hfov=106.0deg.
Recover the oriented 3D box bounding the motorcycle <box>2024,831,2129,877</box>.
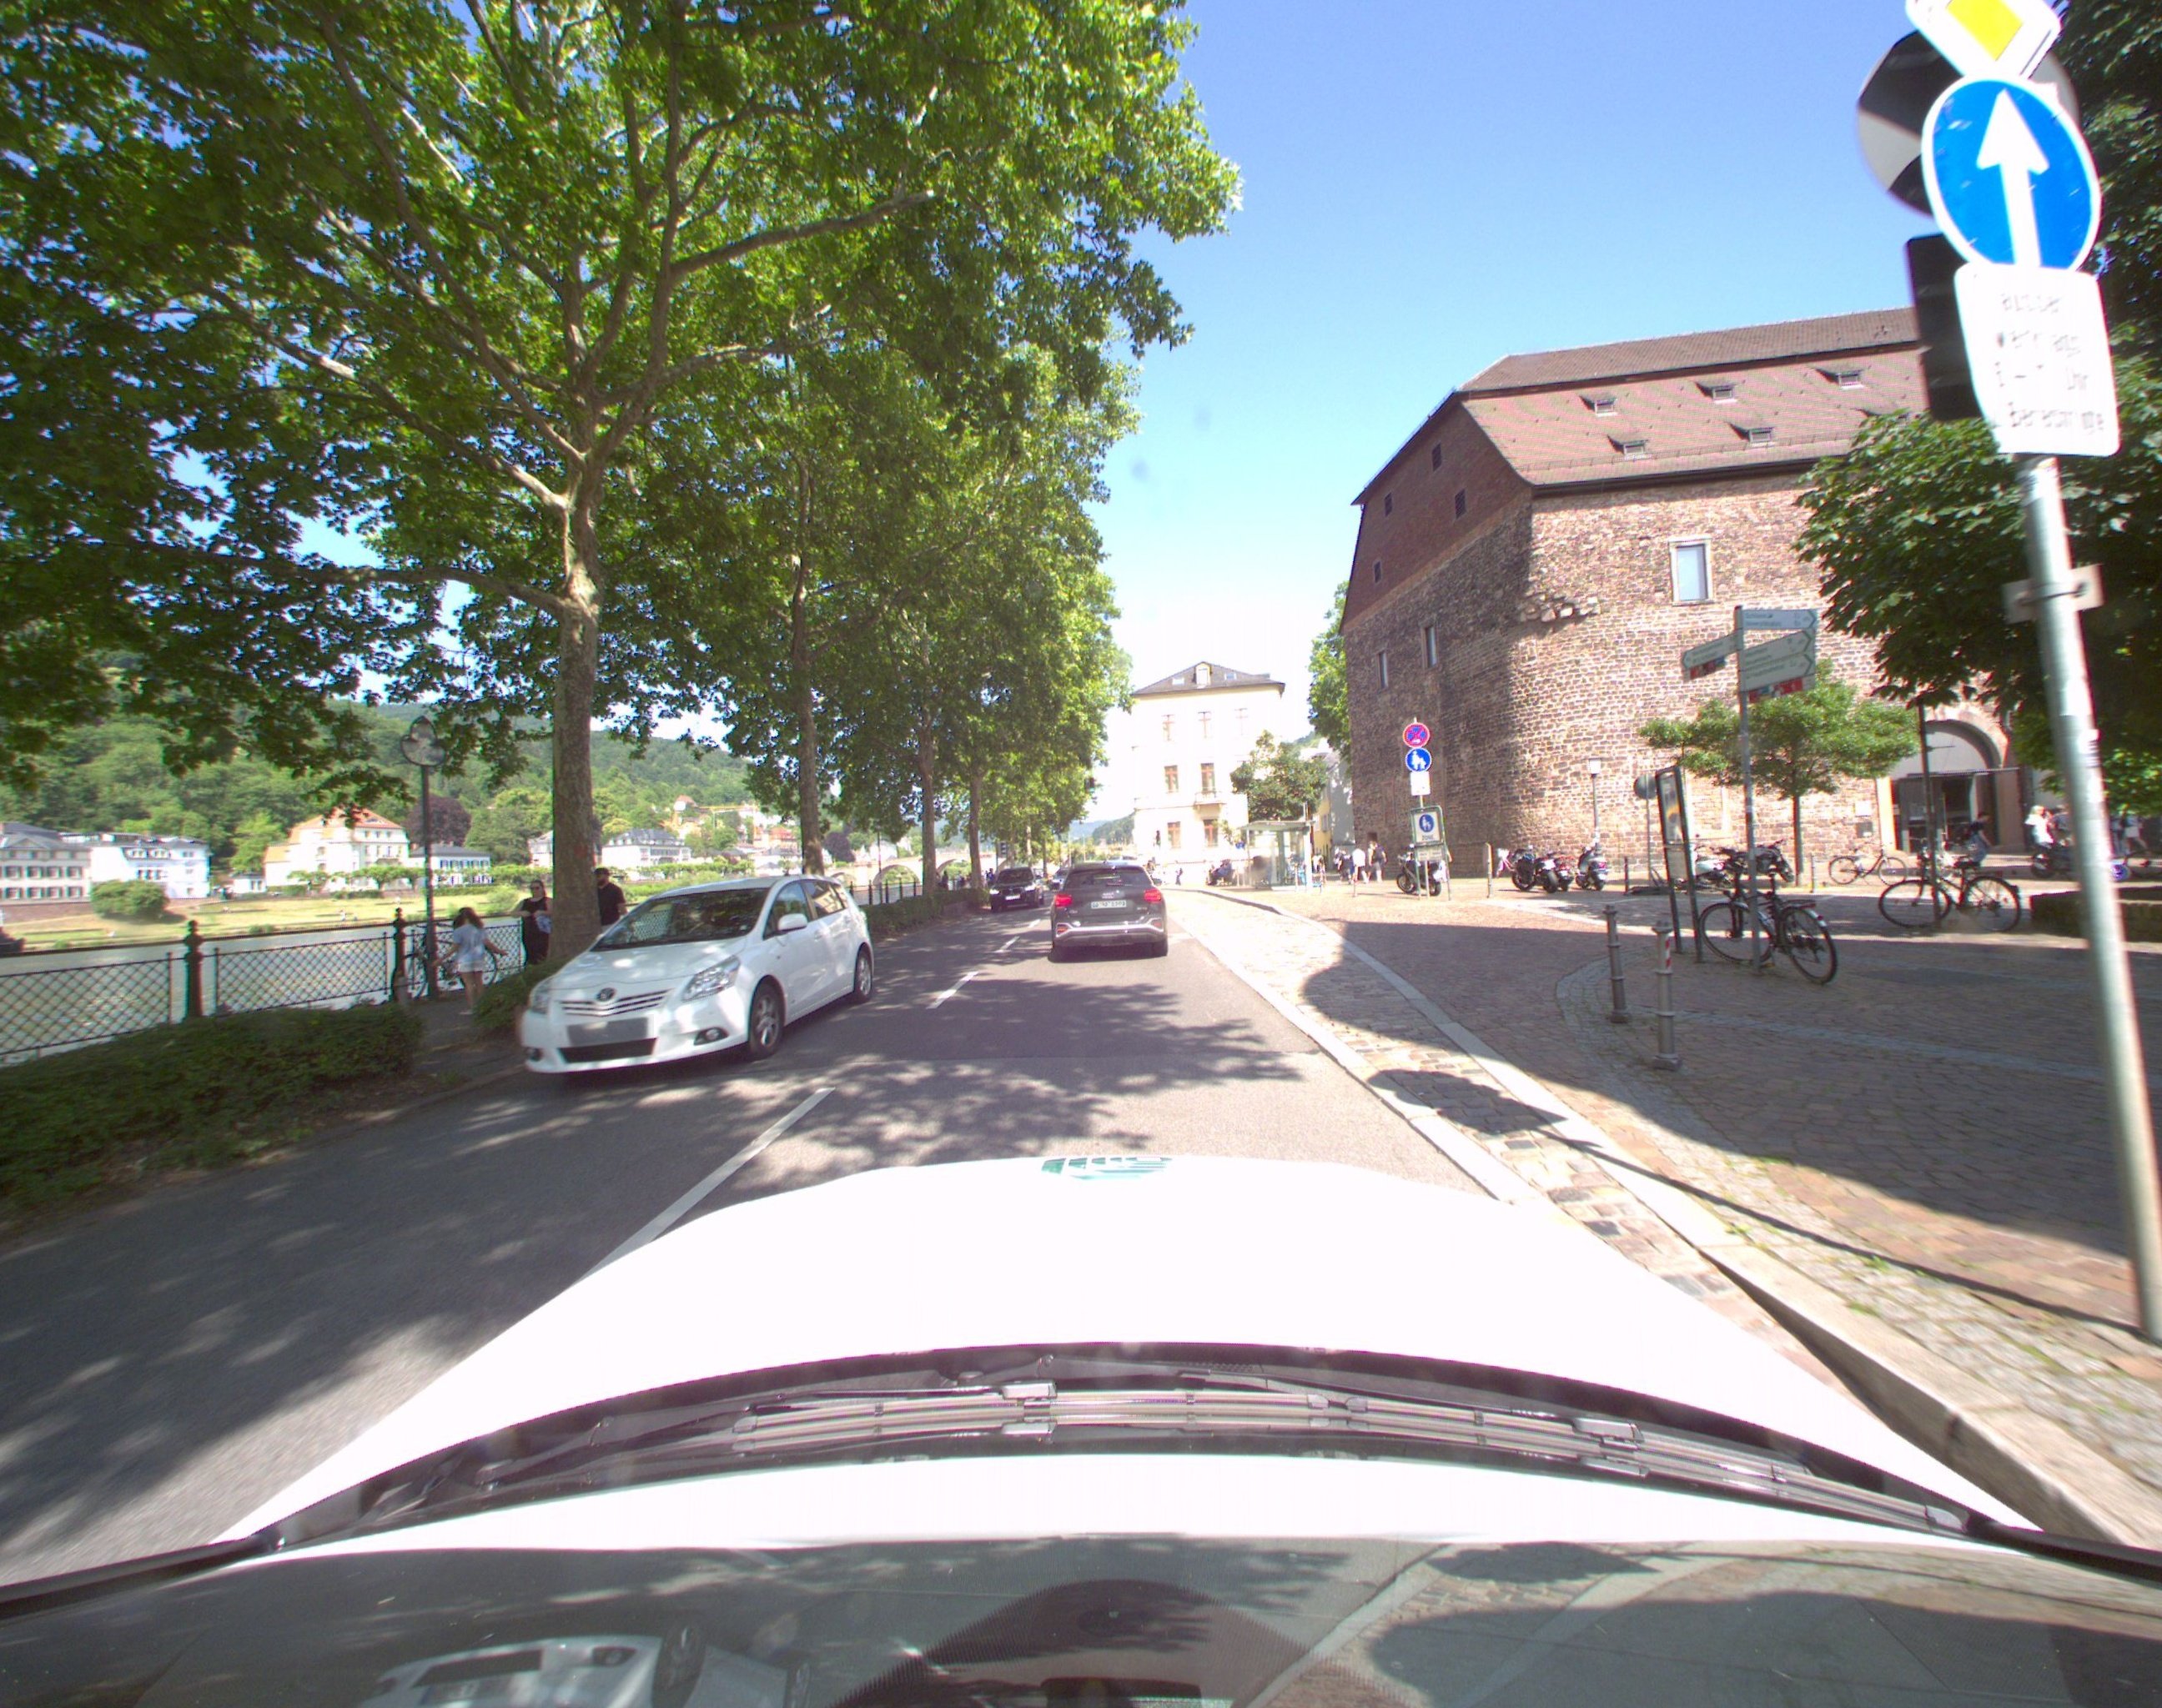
[{"bbox_3d":[23.503,0.021,19.266,0.386,1.034,1.610,-1,-2,-5],"label":"motorcycle"}]

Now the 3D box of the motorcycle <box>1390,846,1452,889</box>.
[{"bbox_3d":[8.817,0.349,21.247,0.564,1.012,2.490,-3,-1,1],"label":"motorcycle"}]

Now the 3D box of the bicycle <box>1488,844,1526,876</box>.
[{"bbox_3d":[16.522,0.237,31.610,0.388,1.209,1.715,-1,-2,-6],"label":"bicycle"}]

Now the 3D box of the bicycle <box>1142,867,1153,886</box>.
[{"bbox_3d":[3.945,1.346,48.429,0.436,1.086,1.675,-1,-2,-2],"label":"bicycle"}]

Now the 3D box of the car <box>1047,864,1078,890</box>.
[{"bbox_3d":[-1.354,1.716,60.857,1.985,1.807,4.003,-1,-2,3],"label":"car"}]

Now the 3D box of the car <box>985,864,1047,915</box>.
[{"bbox_3d":[-2.546,1.380,33.142,1.806,1.725,4.423,-8,-1,2],"label":"car"}]

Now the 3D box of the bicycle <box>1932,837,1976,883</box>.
[{"bbox_3d":[21.174,0.138,19.763,0.356,1.085,1.390,-2,-1,33],"label":"bicycle"}]

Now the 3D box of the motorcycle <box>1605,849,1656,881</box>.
[{"bbox_3d":[16.921,0.332,25.118,0.441,0.949,1.729,-1,-1,2],"label":"motorcycle"}]

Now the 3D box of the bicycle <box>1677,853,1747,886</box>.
[{"bbox_3d":[16.396,0.398,21.223,0.352,0.820,1.926,-1,0,1],"label":"bicycle"}]

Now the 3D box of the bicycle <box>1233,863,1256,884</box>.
[{"bbox_3d":[8.131,0.977,40.493,1.187,1.016,0.178,0,-2,-17],"label":"bicycle"}]

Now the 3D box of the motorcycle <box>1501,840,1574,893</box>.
[{"bbox_3d":[11.714,0.332,20.980,0.653,1.266,2.201,-2,-2,2],"label":"motorcycle"}]

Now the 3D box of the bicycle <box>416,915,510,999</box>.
[{"bbox_3d":[-9.134,1.490,12.086,0.358,1.091,1.296,1,-1,1],"label":"bicycle"}]

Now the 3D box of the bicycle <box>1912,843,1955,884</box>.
[{"bbox_3d":[20.257,0.226,19.358,0.356,0.949,1.390,-2,-2,33],"label":"bicycle"}]

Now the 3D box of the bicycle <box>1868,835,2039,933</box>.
[{"bbox_3d":[11.311,0.363,10.639,0.444,1.162,1.732,-3,-1,5],"label":"bicycle"}]

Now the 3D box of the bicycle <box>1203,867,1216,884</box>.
[{"bbox_3d":[7.382,1.243,46.850,0.299,0.964,1.183,0,-2,-11],"label":"bicycle"}]

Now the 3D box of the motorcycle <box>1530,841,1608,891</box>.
[{"bbox_3d":[12.624,0.322,21.174,0.672,1.235,2.313,-1,-2,2],"label":"motorcycle"}]

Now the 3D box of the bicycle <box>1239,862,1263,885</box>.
[{"bbox_3d":[8.162,0.940,38.992,1.160,1.070,0.178,0,-2,-17],"label":"bicycle"}]

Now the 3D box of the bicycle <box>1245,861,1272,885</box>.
[{"bbox_3d":[8.347,0.888,38.293,1.306,1.128,0.178,0,-2,-17],"label":"bicycle"}]

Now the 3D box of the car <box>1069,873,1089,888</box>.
[{"bbox_3d":[-0.193,3.067,93.914,1.985,1.626,4.003,-1,-2,3],"label":"car"}]

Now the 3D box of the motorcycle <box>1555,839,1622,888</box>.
[{"bbox_3d":[13.488,0.266,21.725,0.544,1.235,2.031,-1,-2,2],"label":"motorcycle"}]

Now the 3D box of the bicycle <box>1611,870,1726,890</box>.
[{"bbox_3d":[13.314,0.589,18.514,1.914,0.381,0.921,-2,-2,16],"label":"bicycle"}]

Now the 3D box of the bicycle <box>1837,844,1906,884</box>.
[{"bbox_3d":[19.442,0.257,20.057,0.358,0.966,1.381,-1,-2,1],"label":"bicycle"}]

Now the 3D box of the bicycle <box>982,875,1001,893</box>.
[{"bbox_3d":[-5.192,1.751,47.354,1.091,1.006,0.303,-1,-2,-5],"label":"bicycle"}]

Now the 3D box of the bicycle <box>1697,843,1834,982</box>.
[{"bbox_3d":[6.583,0.502,7.918,0.192,1.204,1.775,-2,0,13],"label":"bicycle"}]

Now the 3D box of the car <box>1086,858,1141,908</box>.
[{"bbox_3d":[1.128,0.964,28.272,1.786,1.595,3.400,-1,-1,2],"label":"car"}]

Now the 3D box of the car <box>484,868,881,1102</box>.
[{"bbox_3d":[-3.523,1.027,8.203,1.732,1.572,4.093,-6,-1,2],"label":"car"}]

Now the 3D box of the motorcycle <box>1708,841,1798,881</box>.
[{"bbox_3d":[18.204,0.202,22.088,1.854,1.054,0.481,-1,-2,10],"label":"motorcycle"}]

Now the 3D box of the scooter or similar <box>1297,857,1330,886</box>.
[{"bbox_3d":[8.654,0.661,30.315,1.085,1.066,0.323,-1,-2,-1],"label":"scooter or similar"}]

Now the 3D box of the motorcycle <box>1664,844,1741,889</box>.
[{"bbox_3d":[15.317,0.319,20.136,0.505,1.073,1.840,-1,-2,2],"label":"motorcycle"}]

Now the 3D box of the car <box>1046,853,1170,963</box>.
[{"bbox_3d":[0.458,0.804,13.665,1.736,1.509,3.648,-3,-1,2],"label":"car"}]

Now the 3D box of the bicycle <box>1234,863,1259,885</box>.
[{"bbox_3d":[8.089,0.978,39.776,1.205,1.035,0.178,0,-2,-17],"label":"bicycle"}]
